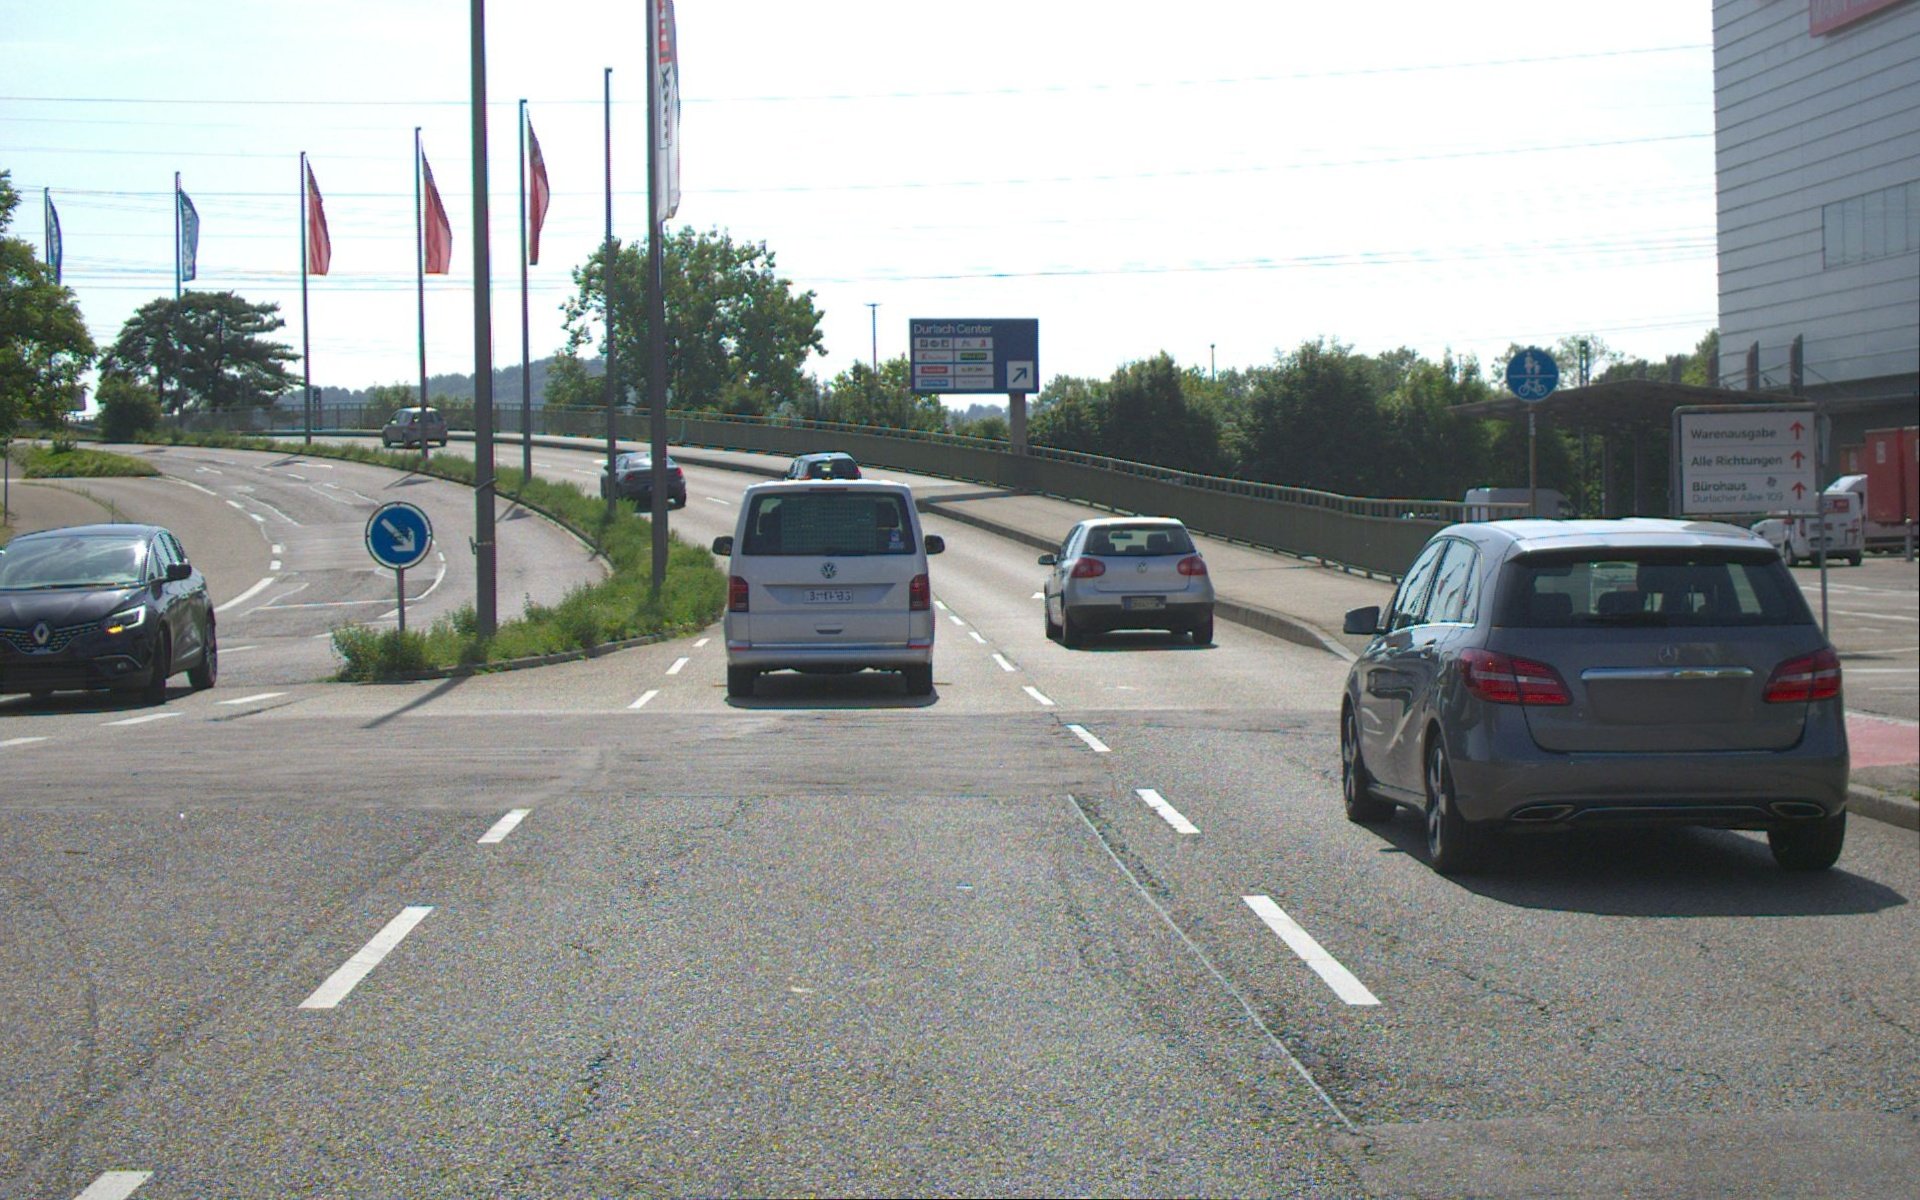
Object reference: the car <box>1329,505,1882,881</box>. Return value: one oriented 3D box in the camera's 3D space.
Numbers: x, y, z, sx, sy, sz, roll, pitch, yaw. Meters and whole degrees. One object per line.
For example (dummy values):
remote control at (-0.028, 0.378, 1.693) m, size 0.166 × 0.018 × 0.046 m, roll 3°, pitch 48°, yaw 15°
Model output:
car at (2.894, 0.331, 16.306) m, size 1.773 × 1.533 × 4.138 m, roll 0°, pitch 2°, yaw -1°

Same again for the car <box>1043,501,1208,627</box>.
car at (1.918, -0.456, 40.730) m, size 1.666 × 1.409 × 3.683 m, roll 0°, pitch 2°, yaw -2°

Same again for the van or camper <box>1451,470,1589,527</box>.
van or camper at (23.408, -4.216, 143.614) m, size 5.419 × 2.171 × 2.106 m, roll 1°, pitch 0°, yaw -26°

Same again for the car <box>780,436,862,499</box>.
car at (-3.593, -3.422, 88.429) m, size 1.530 × 1.474 × 3.598 m, roll 0°, pitch 4°, yaw -12°

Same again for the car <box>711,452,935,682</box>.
car at (-1.211, -0.337, 31.985) m, size 1.917 × 1.968 × 4.297 m, roll 1°, pitch 1°, yaw -1°

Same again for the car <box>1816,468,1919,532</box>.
car at (28.162, -3.026, 103.769) m, size 4.187 × 1.922 × 1.777 m, roll 0°, pitch 2°, yaw -3°

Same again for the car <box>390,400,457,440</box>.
car at (-21.241, -7.116, 136.034) m, size 1.531 × 1.475 × 3.426 m, roll 0°, pitch 1°, yaw -29°

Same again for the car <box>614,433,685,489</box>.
car at (-8.637, -3.838, 95.397) m, size 1.530 × 1.475 × 3.248 m, roll 0°, pitch 1°, yaw -13°

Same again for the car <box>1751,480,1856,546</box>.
car at (22.833, -2.369, 93.206) m, size 1.672 × 1.745 × 4.094 m, roll 0°, pitch 2°, yaw -3°

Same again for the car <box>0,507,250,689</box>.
car at (-8.142, -0.068, 32.513) m, size 1.915 × 1.601 × 4.272 m, roll -1°, pitch 1°, yaw 1°
